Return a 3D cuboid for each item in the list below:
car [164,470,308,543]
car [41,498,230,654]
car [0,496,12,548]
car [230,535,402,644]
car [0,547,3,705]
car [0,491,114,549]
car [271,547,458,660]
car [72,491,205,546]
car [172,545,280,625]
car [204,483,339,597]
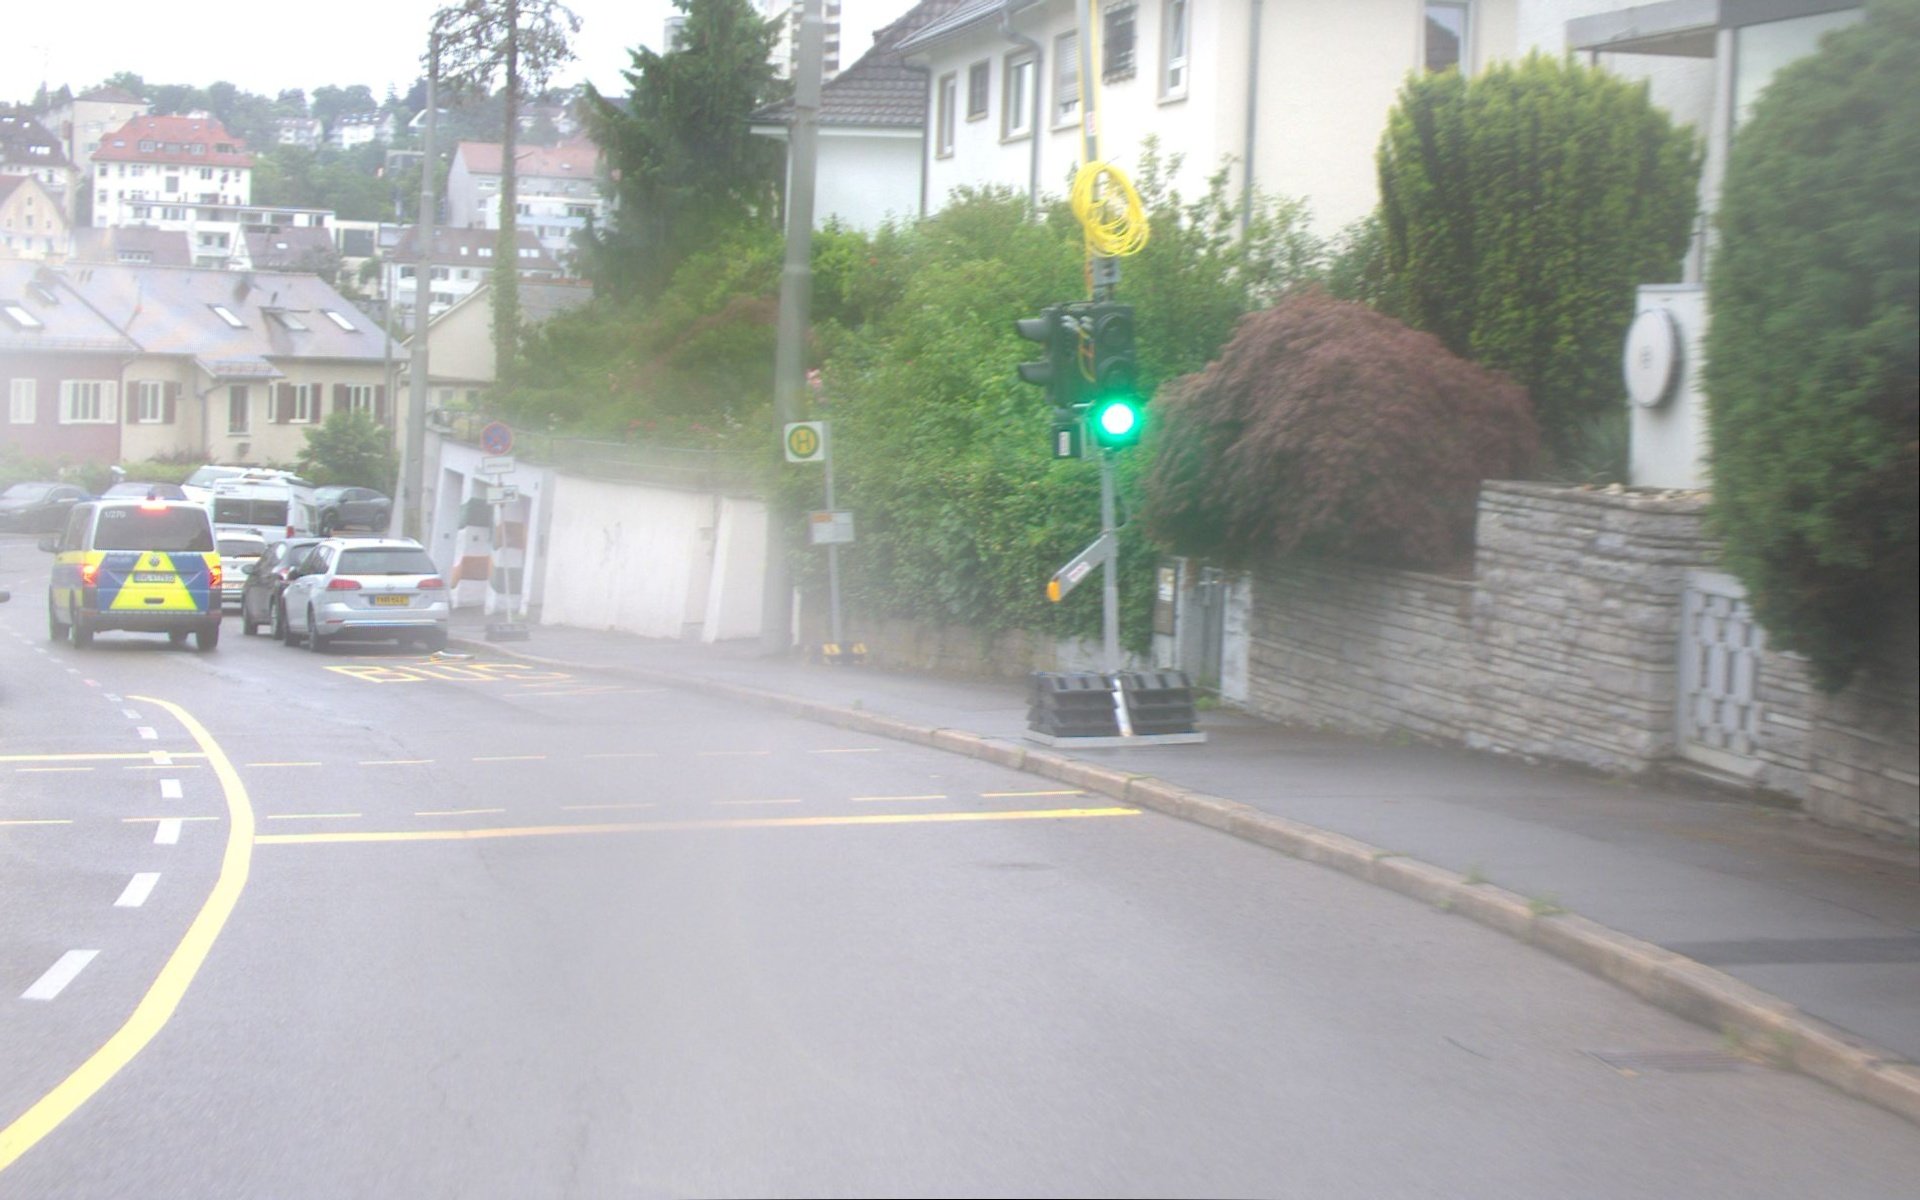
[{"bbox_3d":[-22.968,-2.958,109.313,1.850,2.071,5.015,5,2,22],"label":"car"},{"bbox_3d":[-11.035,-0.369,45.934,2.308,1.933,4.326,-1,2,-14],"label":"car"},{"bbox_3d":[-27.483,-2.148,93.074,1.700,1.400,4.471,5,3,9],"label":"car"},{"bbox_3d":[-9.391,-0.172,49.934,1.713,1.508,4.001,0,1,-22],"label":"car"},{"bbox_3d":[-10.370,0.211,33.675,1.698,1.456,4.685,0,1,-18],"label":"car"},{"bbox_3d":[-26.302,-2.288,98.387,1.810,1.471,4.518,5,2,19],"label":"car"},{"bbox_3d":[-7.903,0.011,45.318,1.781,1.415,4.431,0,1,-19],"label":"car"},{"bbox_3d":[-24.752,-2.441,103.768,1.810,1.471,4.519,5,2,16],"label":"car"},{"bbox_3d":[-13.567,-0.298,63.411,1.704,1.409,4.043,1,1,-15],"label":"car"},{"bbox_3d":[-16.126,-1.411,80.847,2.098,2.533,5.620,2,1,-1],"label":"car"}]
